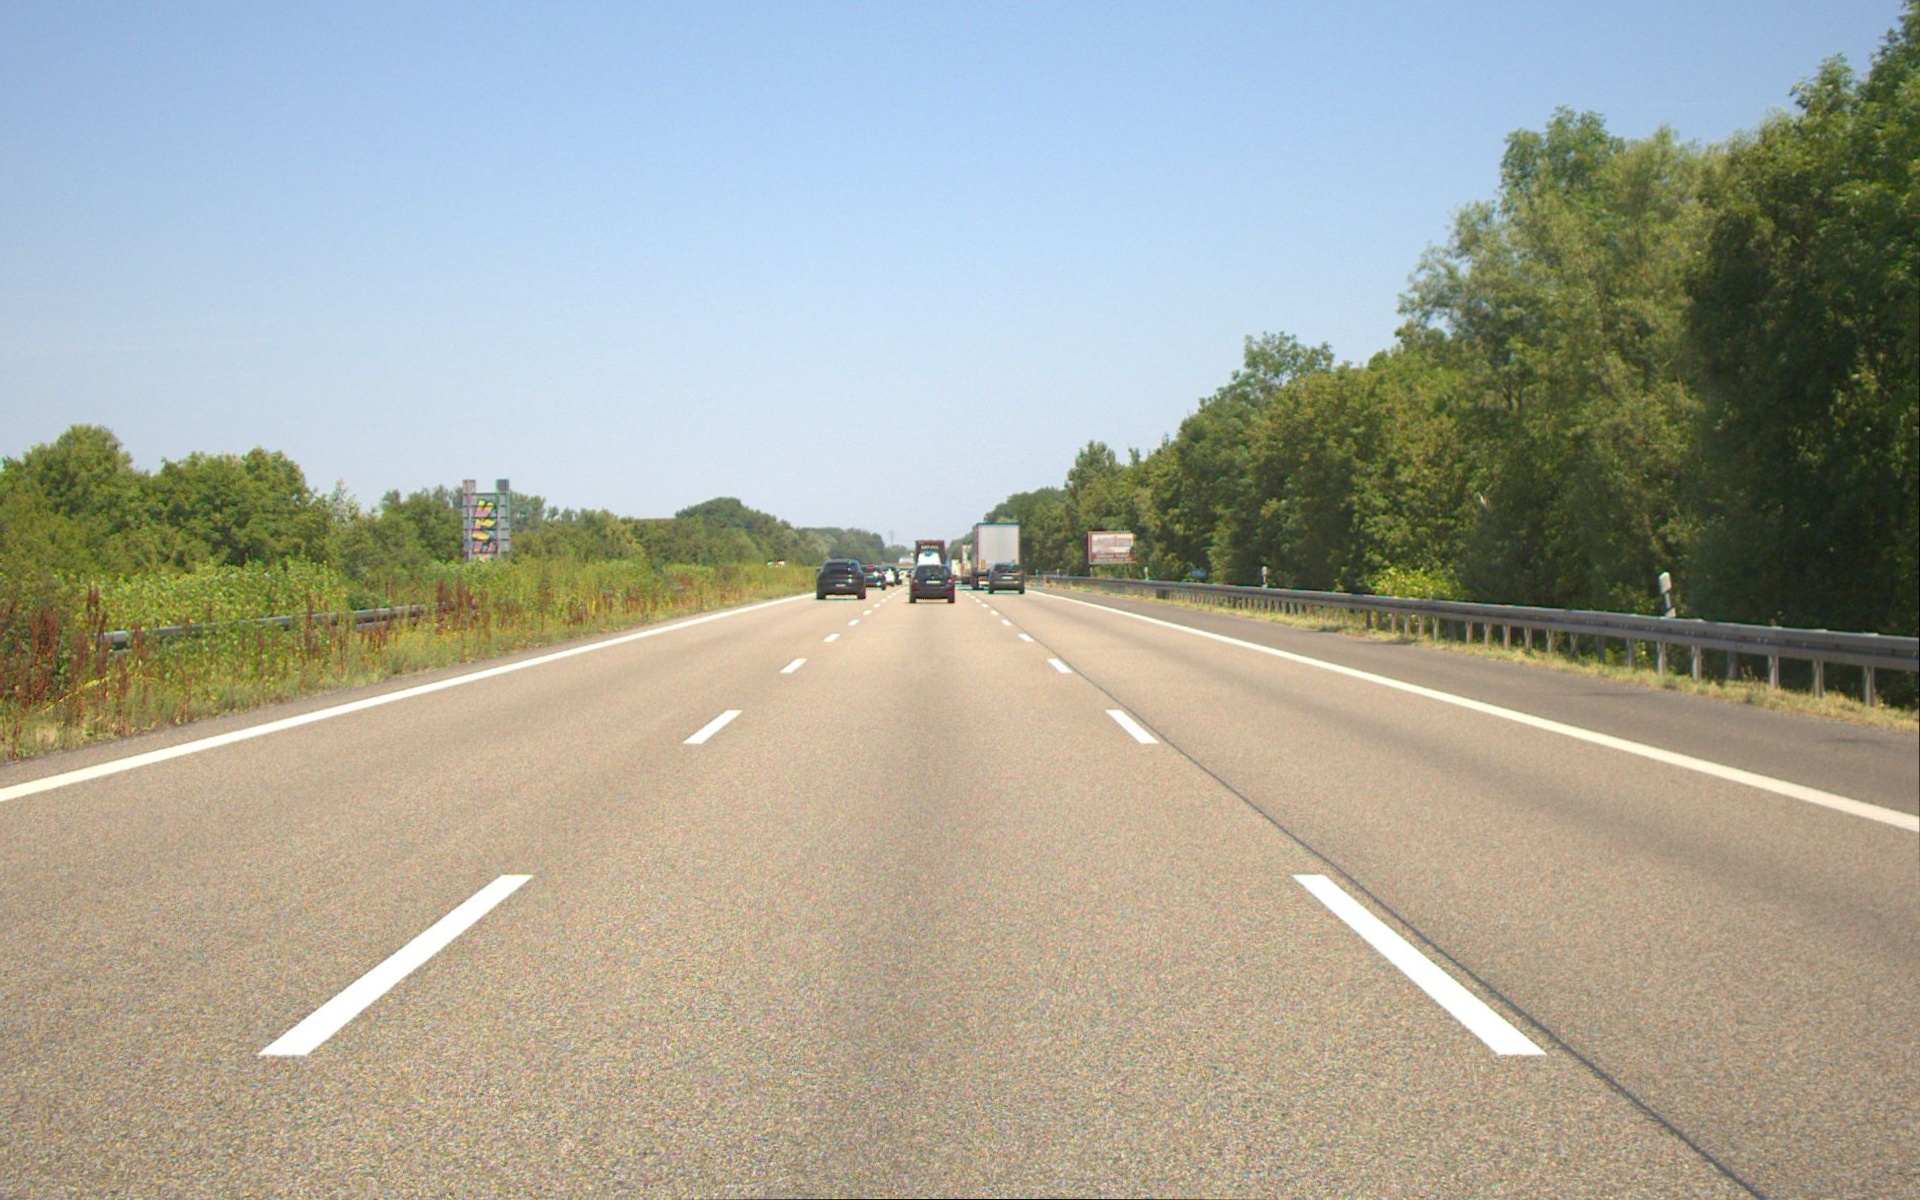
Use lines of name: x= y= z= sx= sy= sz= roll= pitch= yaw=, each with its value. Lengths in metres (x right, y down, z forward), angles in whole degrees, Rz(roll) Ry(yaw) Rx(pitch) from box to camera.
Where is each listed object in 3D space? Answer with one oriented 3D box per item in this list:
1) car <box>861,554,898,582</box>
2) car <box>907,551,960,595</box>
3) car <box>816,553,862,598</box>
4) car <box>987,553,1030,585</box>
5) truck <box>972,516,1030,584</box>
car: x=-4.951 y=-1.976 z=211.379 sx=2.128 sy=1.640 sz=4.304 roll=-1 pitch=1 yaw=0
car: x=-0.971 y=-1.015 z=128.325 sx=1.903 sy=1.578 sz=4.304 roll=-1 pitch=1 yaw=0
car: x=-5.017 y=-1.029 z=142.563 sx=1.880 sy=1.786 sz=4.001 roll=0 pitch=2 yaw=-2
car: x=2.487 y=-1.615 z=178.085 sx=2.128 sy=1.578 sz=4.304 roll=-1 pitch=1 yaw=0
truck: x=2.446 y=-3.039 z=209.101 sx=3.385 sy=3.957 sz=9.537 roll=-1 pitch=1 yaw=0
